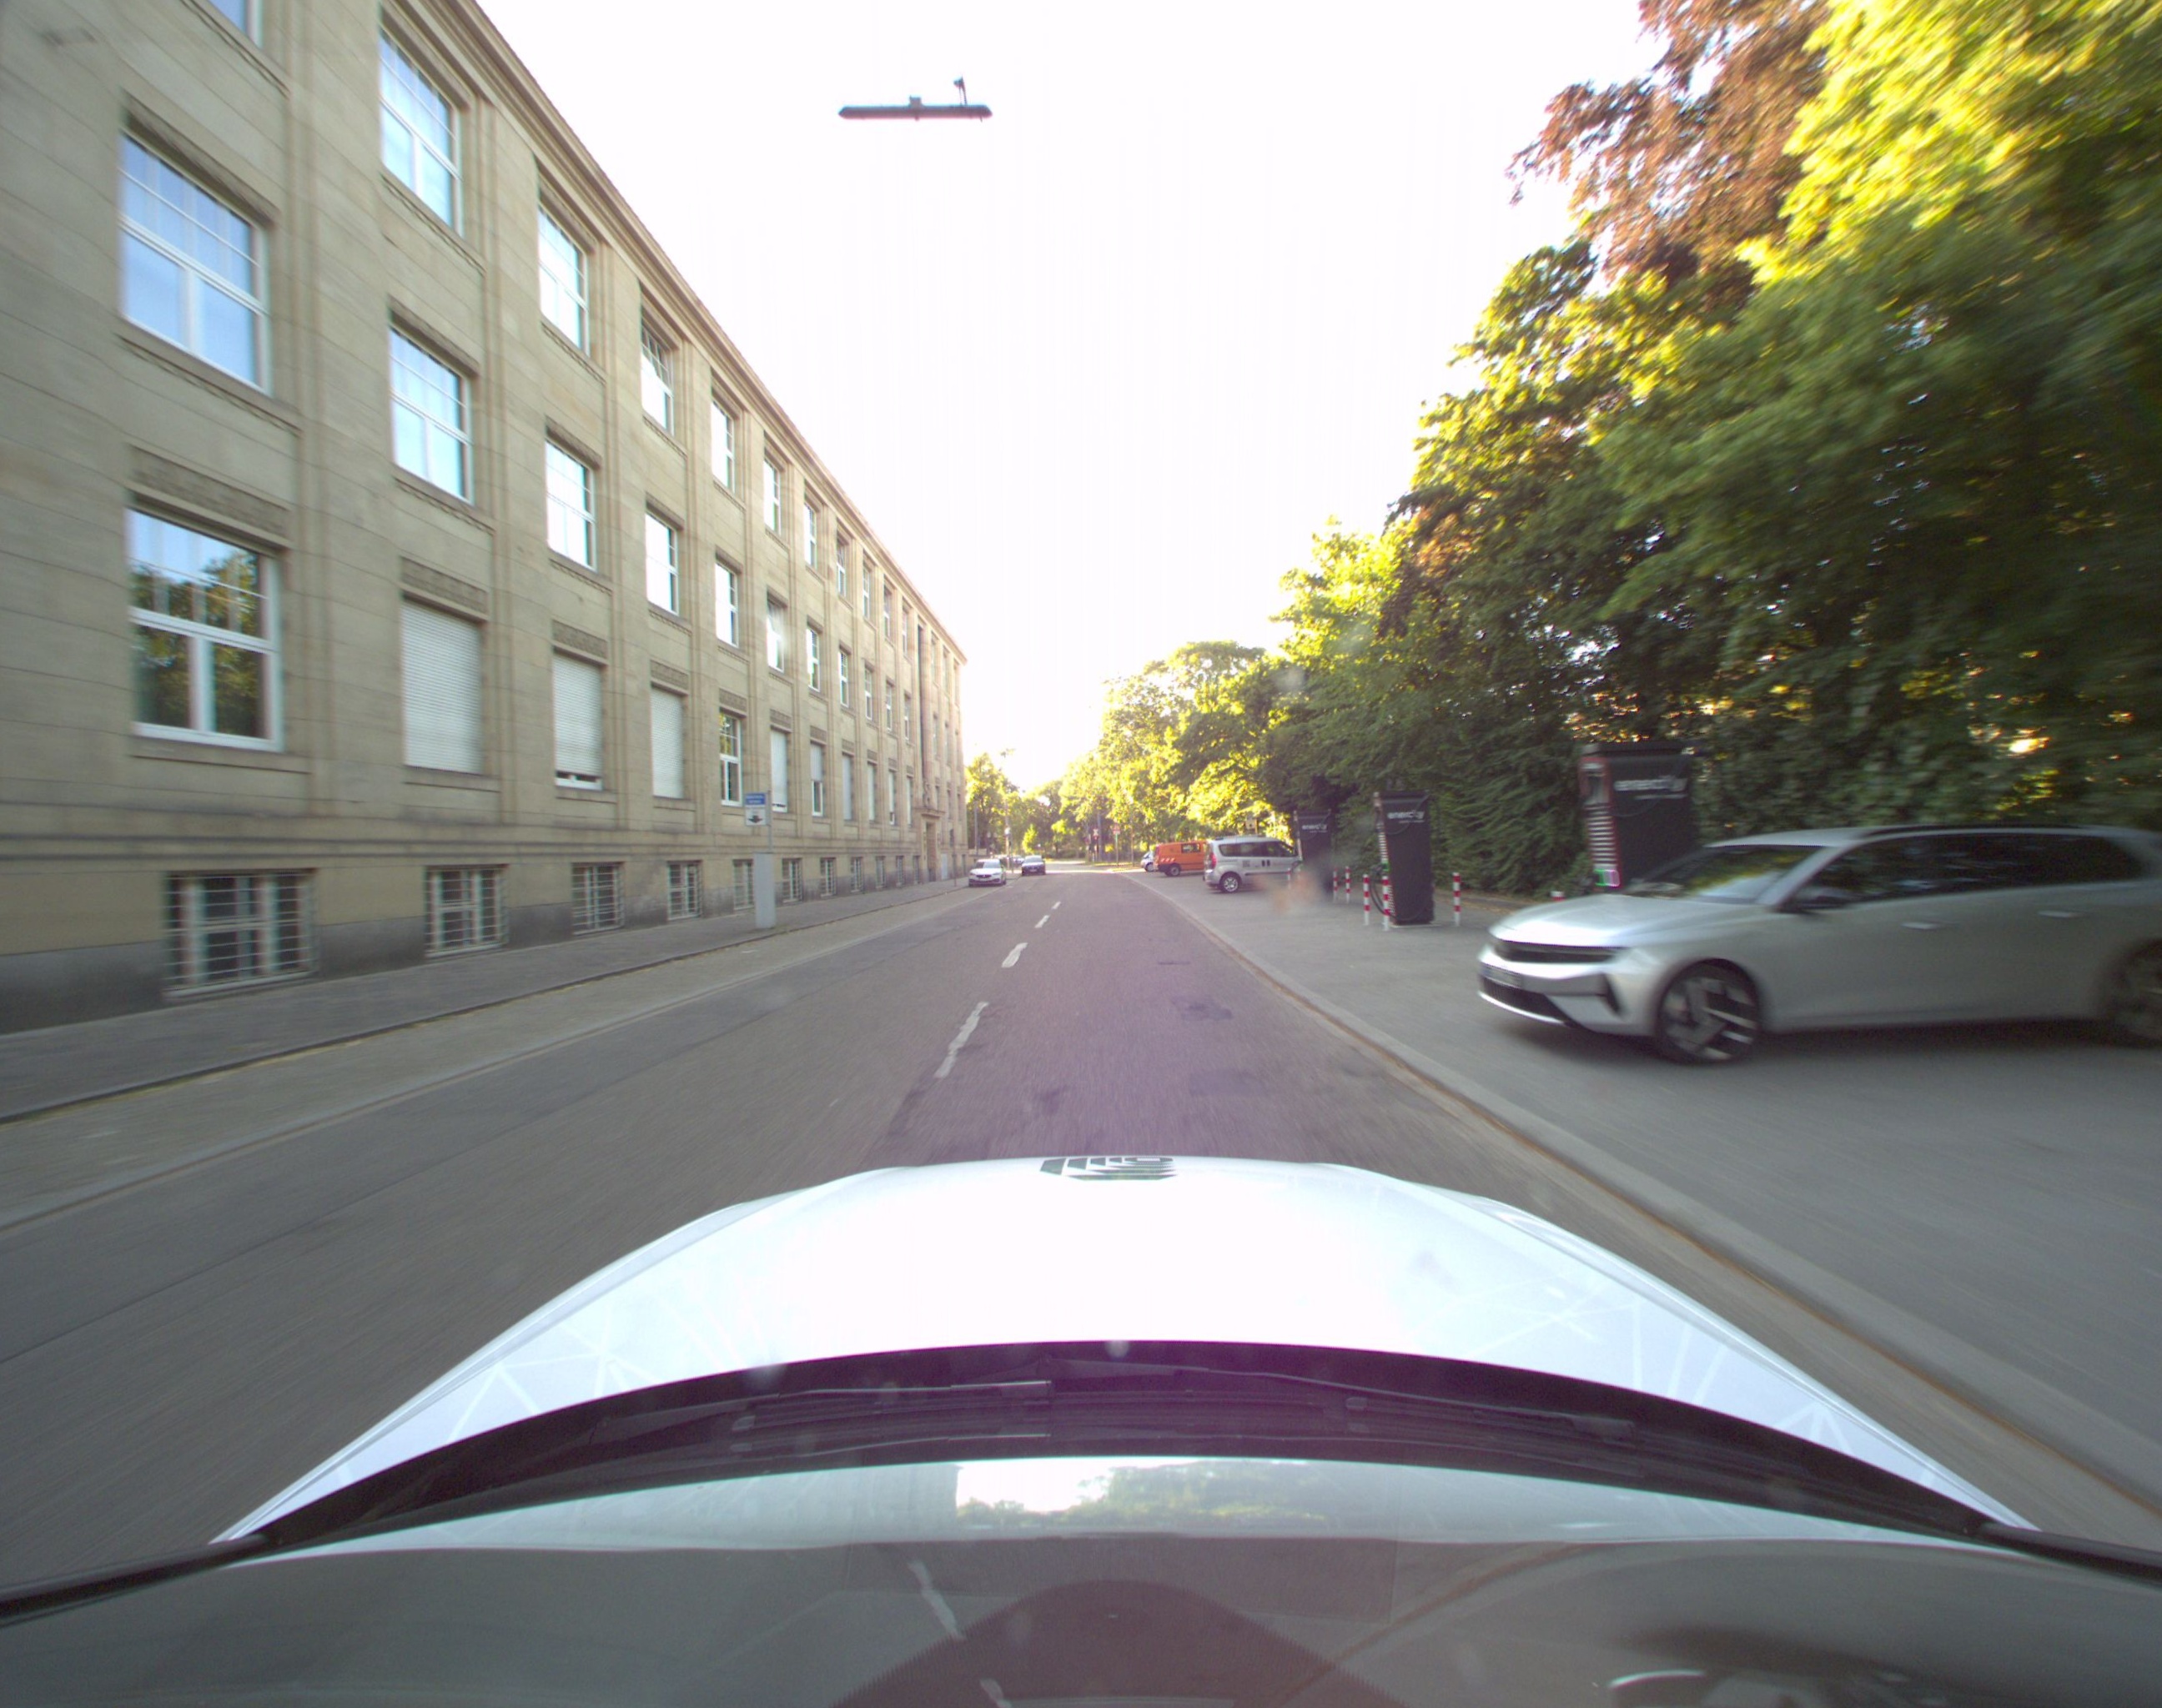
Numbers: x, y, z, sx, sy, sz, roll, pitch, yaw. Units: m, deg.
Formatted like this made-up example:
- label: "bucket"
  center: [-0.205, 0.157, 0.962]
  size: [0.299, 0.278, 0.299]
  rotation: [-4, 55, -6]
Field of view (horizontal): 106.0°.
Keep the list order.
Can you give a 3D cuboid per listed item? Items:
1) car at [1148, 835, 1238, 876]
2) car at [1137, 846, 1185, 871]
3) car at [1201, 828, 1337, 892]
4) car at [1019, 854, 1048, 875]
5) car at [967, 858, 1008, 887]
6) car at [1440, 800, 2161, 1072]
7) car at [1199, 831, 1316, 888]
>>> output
- label: "car"
  center: [6.516, 0.063, 47.459]
  size: [4.811, 2.013, 1.799]
  rotation: [-4, 0, -5]
- label: "car"
  center: [5.681, 0.330, 57.981]
  size: [3.139, 1.503, 1.538]
  rotation: [-4, 0, -5]
- label: "car"
  center: [6.397, 0.204, 28.084]
  size: [4.211, 1.859, 2.001]
  rotation: [-4, -1, 2]
- label: "car"
  center: [-3.552, 0.757, 61.563]
  size: [1.873, 1.466, 4.371]
  rotation: [-2, 0, -1]
- label: "car"
  center: [-5.040, 0.973, 44.259]
  size: [1.722, 1.397, 4.371]
  rotation: [-2, 0, -1]
- label: "car"
  center: [5.256, 0.492, 5.955]
  size: [4.425, 1.469, 1.783]
  rotation: [-3, 0, 1]
- label: "car"
  center: [6.585, 0.190, 30.716]
  size: [4.007, 1.835, 1.615]
  rotation: [-4, 0, 2]
